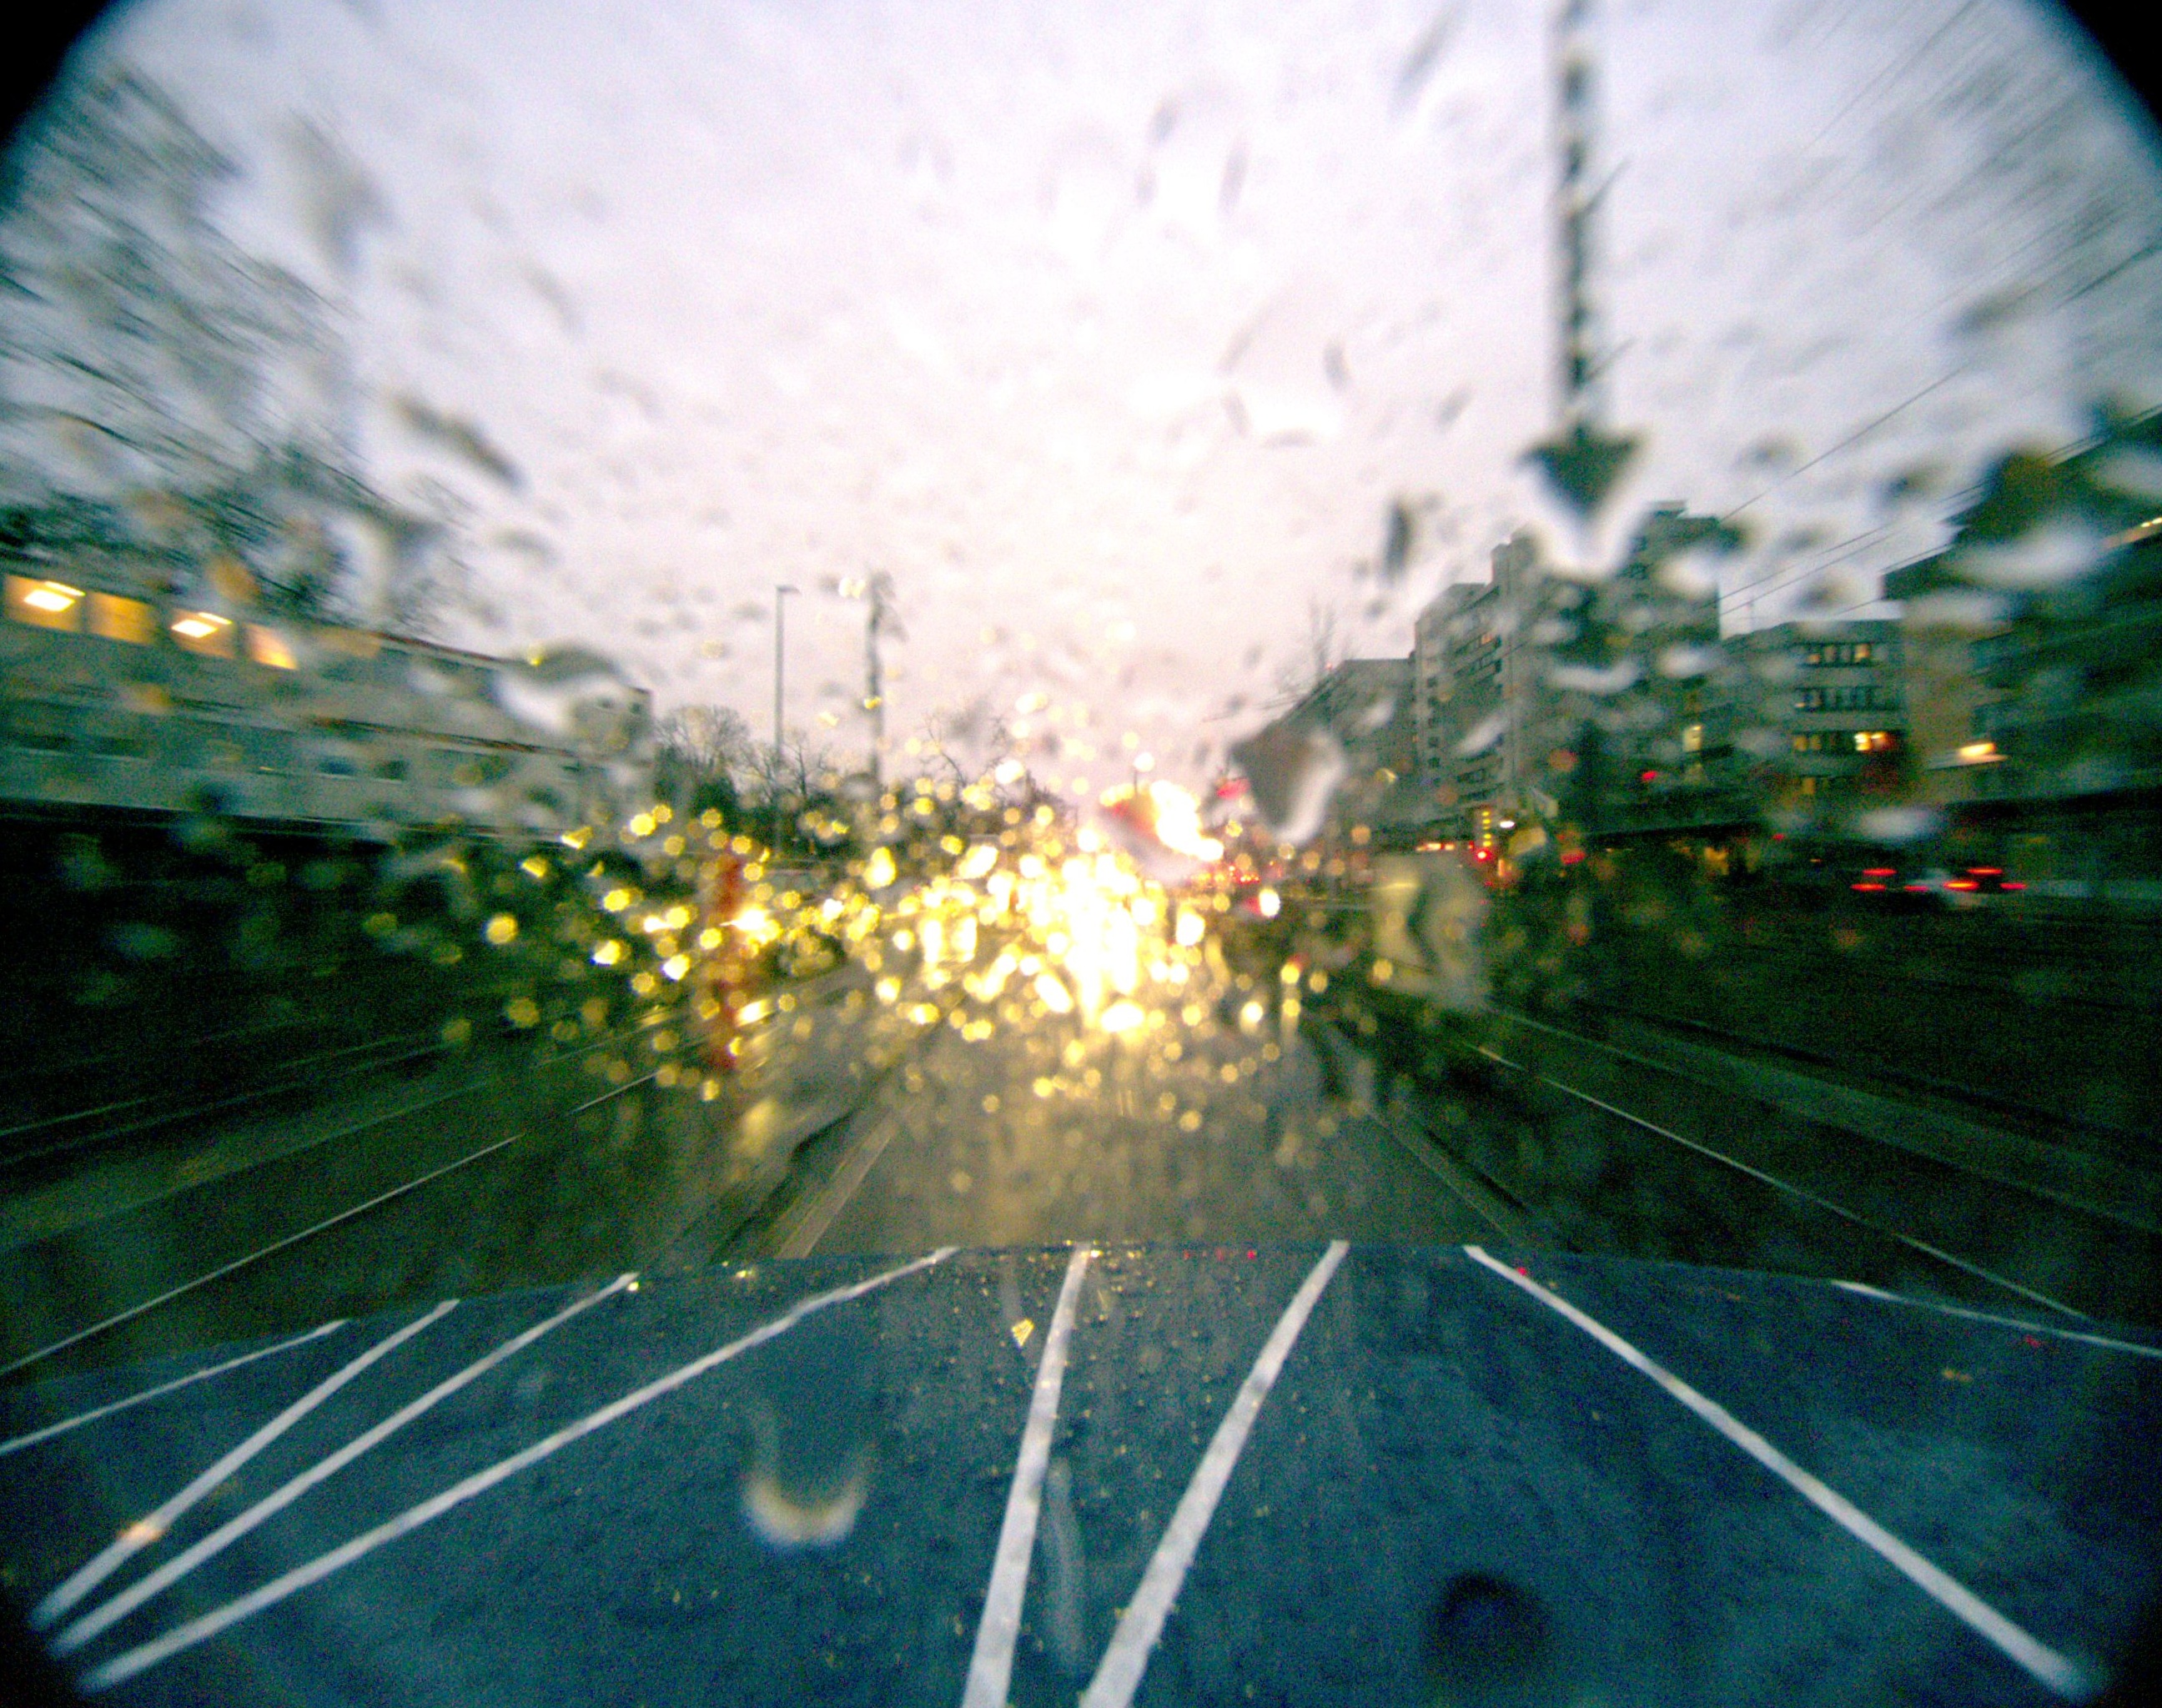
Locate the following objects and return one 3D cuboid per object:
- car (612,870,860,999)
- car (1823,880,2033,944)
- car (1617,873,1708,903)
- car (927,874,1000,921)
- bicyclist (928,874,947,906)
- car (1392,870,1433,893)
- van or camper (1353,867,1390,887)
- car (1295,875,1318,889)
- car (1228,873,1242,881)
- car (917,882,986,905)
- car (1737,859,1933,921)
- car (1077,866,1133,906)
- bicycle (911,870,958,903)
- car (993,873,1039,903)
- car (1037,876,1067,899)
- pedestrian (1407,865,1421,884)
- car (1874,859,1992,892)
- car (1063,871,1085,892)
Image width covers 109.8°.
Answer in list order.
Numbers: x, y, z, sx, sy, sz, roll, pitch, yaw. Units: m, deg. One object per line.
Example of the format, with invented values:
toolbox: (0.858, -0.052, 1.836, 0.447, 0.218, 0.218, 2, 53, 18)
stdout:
car: (-4.835, 1.035, 11.360, 1.726, 1.470, 4.001, -3, -1, 2)
car: (25.148, 1.651, 22.805, 1.805, 1.575, 4.001, -3, -1, 1)
car: (34.202, 1.984, 44.760, 3.997, 1.502, 1.686, -3, 0, 1)
car: (-4.448, 1.611, 29.480, 1.791, 1.492, 4.968, -2, 0, 3)
bicyclist: (-7.567, 1.906, 40.083, 0.817, 1.669, 0.698, -1, -1, 6)
car: (32.220, 2.650, 73.816, 1.995, 2.001, 4.582, -3, -1, 45)
van or camper: (31.511, 2.514, 82.629, 1.998, 2.084, 5.656, -1, -2, 2)
car: (27.467, 3.400, 92.320, 1.995, 1.536, 4.712, -2, -1, 24)
car: (27.855, 4.098, 137.255, 1.754, 1.440, 3.874, -1, -1, 1)
car: (-9.314, 2.850, 54.907, 4.511, 1.480, 1.883, -1, -1, 8)
car: (22.128, 0.994, 22.555, 1.805, 1.575, 4.001, -3, -1, 1)
car: (1.011, 1.287, 31.895, 2.160, 1.489, 4.008, -1, -1, 2)
bicycle: (-7.702, 1.713, 40.088, 2.244, 1.647, 0.690, -3, 0, 5)
car: (-3.480, 1.799, 41.402, 1.777, 1.452, 4.043, -1, -1, 5)
car: (-2.136, 2.494, 57.256, 1.880, 1.489, 4.078, -1, -1, 2)
pedestrian: (25.746, 1.601, 58.768, 0.792, 1.480, 0.631, -1, -1, -5)
car: (42.485, 1.056, 37.953, 3.835, 1.542, 1.778, -1, -1, 1)
car: (-0.600, 2.456, 68.113, 1.678, 1.738, 3.866, -1, -1, 2)
